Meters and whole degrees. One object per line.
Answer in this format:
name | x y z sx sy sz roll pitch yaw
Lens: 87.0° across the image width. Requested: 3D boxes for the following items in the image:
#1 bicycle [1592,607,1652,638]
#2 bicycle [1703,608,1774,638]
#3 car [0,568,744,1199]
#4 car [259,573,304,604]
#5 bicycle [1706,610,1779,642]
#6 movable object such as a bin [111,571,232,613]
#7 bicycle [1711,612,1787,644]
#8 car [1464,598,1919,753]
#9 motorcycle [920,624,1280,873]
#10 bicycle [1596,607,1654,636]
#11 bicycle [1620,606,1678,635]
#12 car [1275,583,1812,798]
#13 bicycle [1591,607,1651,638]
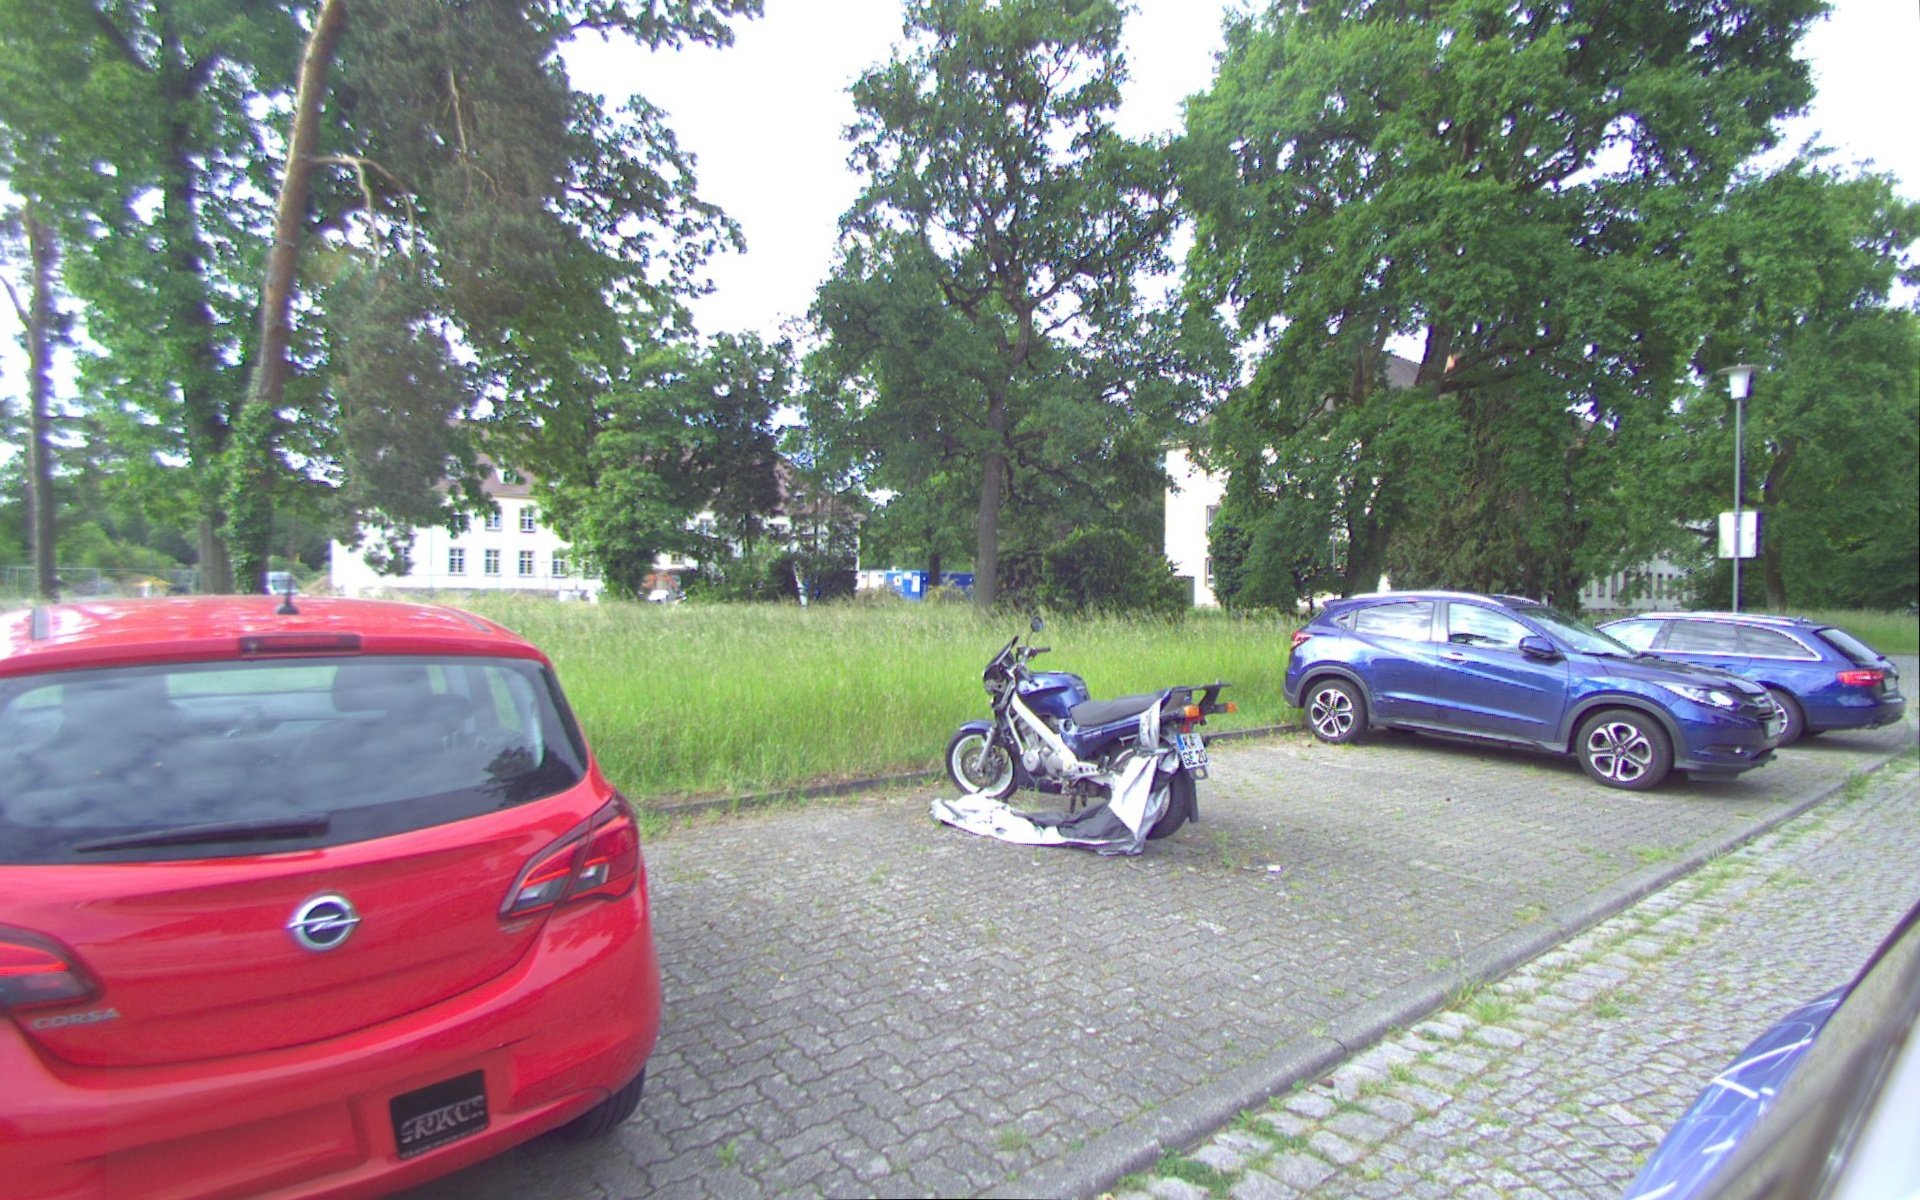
bicycle | 24.824 0.836 37.976 1.840 1.137 0.616 0 0 28
bicycle | 29.193 0.861 37.989 2.010 1.090 0.616 0 0 28
car | -2.434 0.667 3.452 1.748 1.478 3.835 0 2 -40
car | -51.978 -0.861 77.550 4.580 2.378 1.888 0 0 43
bicycle | 27.979 0.913 36.204 1.951 1.090 0.583 0 0 24
movable object such as a bin | -51.151 -0.493 65.780 5.854 2.689 2.179 0 0 -9
bicycle | 27.119 0.951 34.800 1.951 1.090 0.583 0 0 24
car | 8.979 0.766 12.655 1.751 1.439 4.484 1 2 -36
motorcycle | 0.792 0.815 6.506 0.781 1.200 2.331 0 1 -42
bicycle | 26.171 0.833 39.852 1.840 1.137 0.616 0 0 28
bicycle | 27.964 0.819 41.103 1.840 1.137 0.616 0 0 28
car | 5.363 0.646 9.790 1.761 1.591 4.171 -1 1 -39
bicycle | 25.154 0.835 38.520 1.840 1.137 0.616 0 0 28
